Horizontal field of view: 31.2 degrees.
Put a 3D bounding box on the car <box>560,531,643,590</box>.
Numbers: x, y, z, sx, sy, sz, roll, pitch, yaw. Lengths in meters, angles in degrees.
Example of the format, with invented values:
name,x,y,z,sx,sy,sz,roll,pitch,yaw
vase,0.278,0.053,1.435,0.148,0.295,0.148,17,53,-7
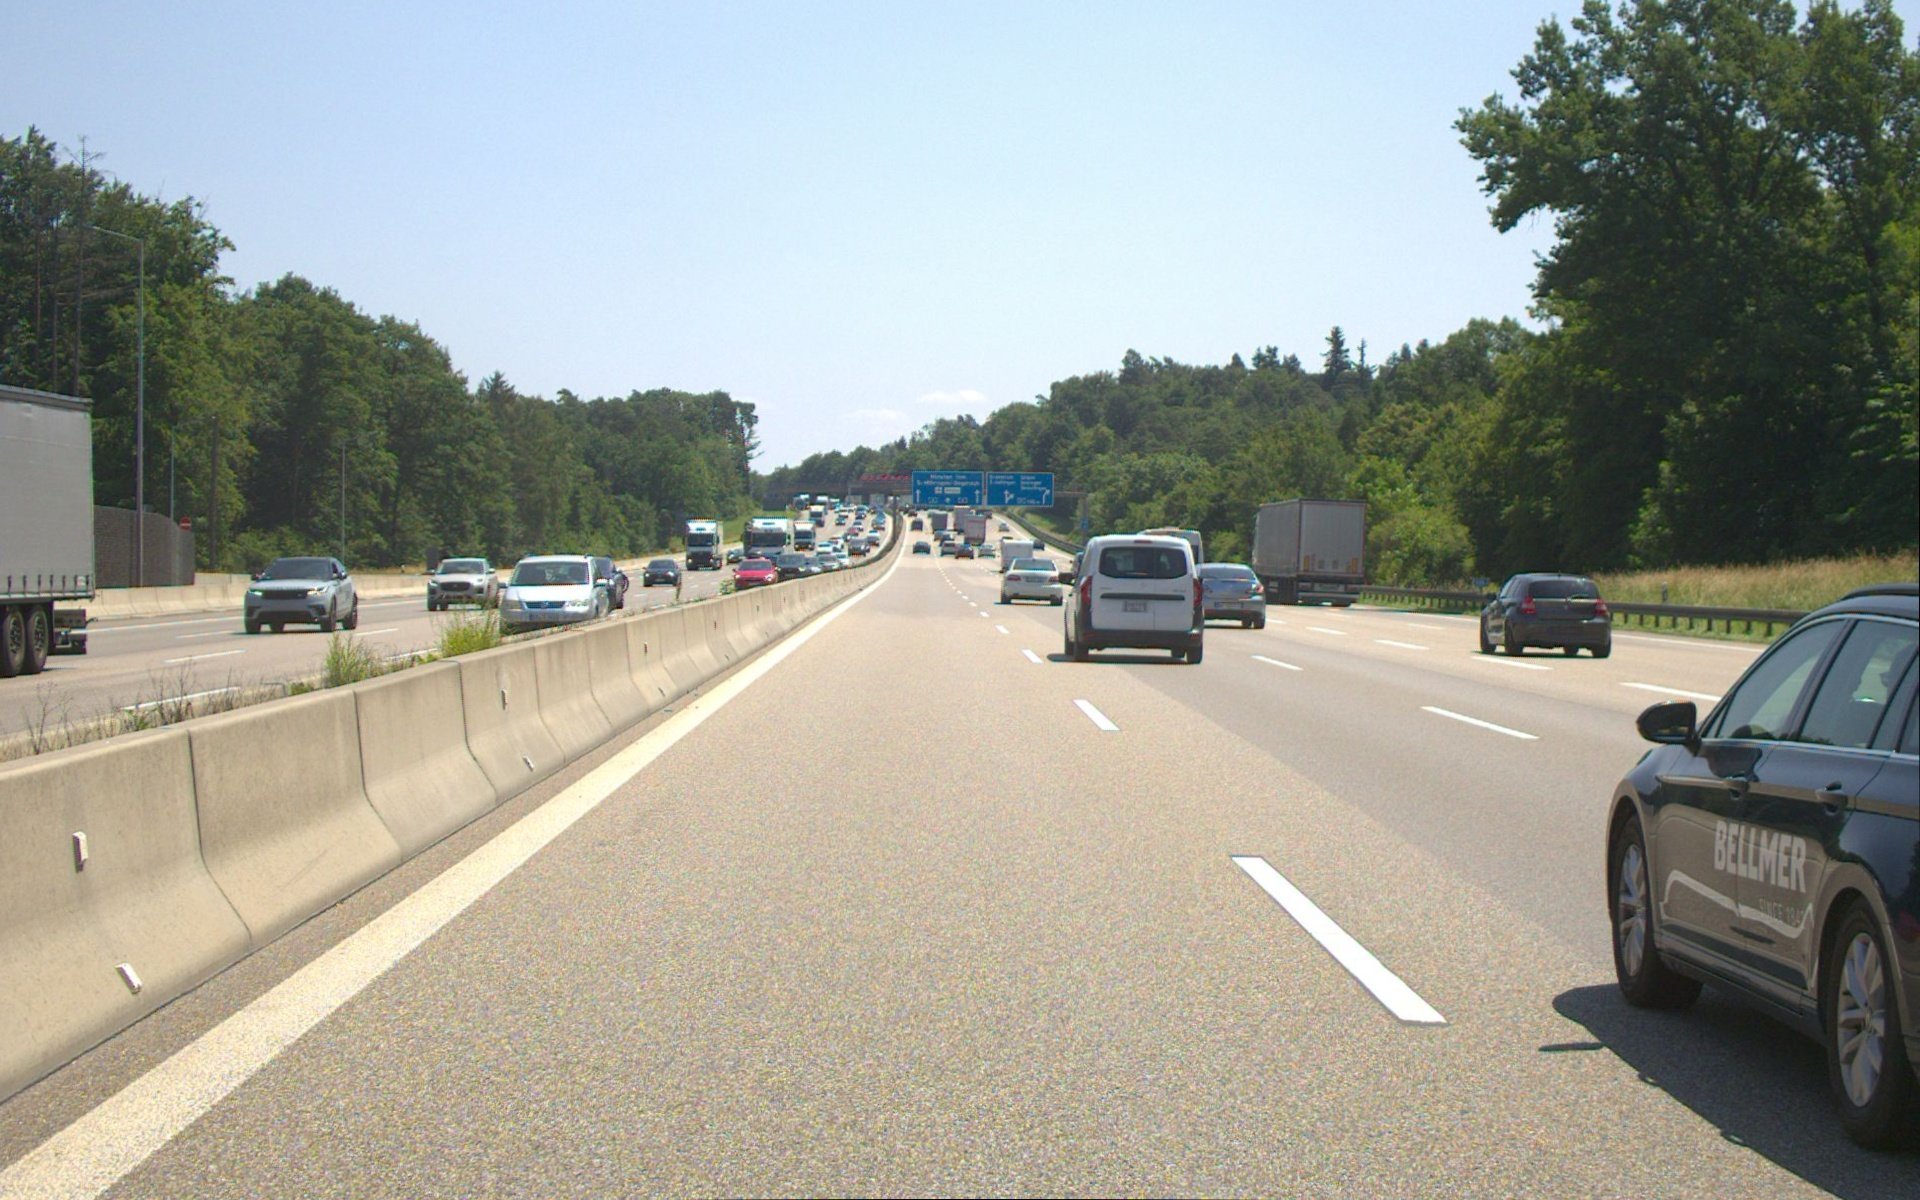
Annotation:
name,x,y,z,sx,sy,sz,roll,pitch,yaw
car,-11.007,-1.235,105.852,1.993,1.768,5.924,0,1,-1

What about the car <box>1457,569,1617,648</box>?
name,x,y,z,sx,sy,sz,roll,pitch,yaw
car,9.868,0.118,59.118,1.670,1.269,4.291,0,1,-5

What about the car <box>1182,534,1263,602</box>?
name,x,y,z,sx,sy,sz,roll,pitch,yaw
car,5.892,-0.720,77.417,1.503,1.495,3.650,0,1,-1

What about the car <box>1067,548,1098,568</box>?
name,x,y,z,sx,sy,sz,roll,pitch,yaw
car,8.156,-2.796,228.839,1.835,1.333,3.643,0,1,-1

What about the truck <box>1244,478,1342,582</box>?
name,x,y,z,sx,sy,sz,roll,pitch,yaw
truck,13.759,-2.920,142.611,3.254,4.092,5.988,2,2,-1

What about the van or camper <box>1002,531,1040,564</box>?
name,x,y,z,sx,sy,sz,roll,pitch,yaw
van or camper,4.638,-4.022,262.906,2.645,2.530,6.502,0,1,-1

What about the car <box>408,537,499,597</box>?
name,x,y,z,sx,sy,sz,roll,pitch,yaw
car,-15.437,-1.030,105.047,1.993,1.768,5.924,0,1,-1

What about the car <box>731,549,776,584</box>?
name,x,y,z,sx,sy,sz,roll,pitch,yaw
car,-8.963,-1.468,149.419,1.730,1.508,5.045,0,1,-1

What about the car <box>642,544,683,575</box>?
name,x,y,z,sx,sy,sz,roll,pitch,yaw
car,-16.023,-2.202,185.403,1.993,1.615,5.755,0,1,-3

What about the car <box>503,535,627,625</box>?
name,x,y,z,sx,sy,sz,roll,pitch,yaw
car,-7.441,-0.405,65.143,1.784,1.637,5.463,0,1,-1

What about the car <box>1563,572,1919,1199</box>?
name,x,y,z,sx,sy,sz,roll,pitch,yaw
car,3.056,0.670,9.985,1.729,1.442,4.961,0,1,0

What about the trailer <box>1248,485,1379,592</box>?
name,x,y,z,sx,sy,sz,roll,pitch,yaw
trailer,13.873,-2.530,136.124,3.287,3.917,13.892,2,2,-1

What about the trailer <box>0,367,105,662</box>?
name,x,y,z,sx,sy,sz,roll,pitch,yaw
trailer,-14.359,-1.136,45.313,2.754,3.987,14.468,0,1,-1

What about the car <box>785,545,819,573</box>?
name,x,y,z,sx,sy,sz,roll,pitch,yaw
car,-9.534,-2.490,207.436,1.993,1.657,4.972,-1,1,-2

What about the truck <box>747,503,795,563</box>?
name,x,y,z,sx,sy,sz,roll,pitch,yaw
truck,-13.244,-4.682,241.311,3.047,4.122,6.949,0,1,-1

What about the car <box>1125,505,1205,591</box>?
name,x,y,z,sx,sy,sz,roll,pitch,yaw
car,6.617,-1.716,111.472,2.143,2.643,5.710,1,2,-1

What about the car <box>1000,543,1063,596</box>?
name,x,y,z,sx,sy,sz,roll,pitch,yaw
car,2.223,-0.978,107.800,1.843,1.623,4.553,0,1,0

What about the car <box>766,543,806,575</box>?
name,x,y,z,sx,sy,sz,roll,pitch,yaw
car,-9.295,-2.183,184.030,1.993,1.657,5.755,-1,1,-2

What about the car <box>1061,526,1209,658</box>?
name,x,y,z,sx,sy,sz,roll,pitch,yaw
car,2.486,-0.143,49.818,1.859,1.819,4.612,0,1,0

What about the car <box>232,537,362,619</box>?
name,x,y,z,sx,sy,sz,roll,pitch,yaw
car,-14.809,-0.523,77.052,1.993,1.768,5.039,0,1,-1
